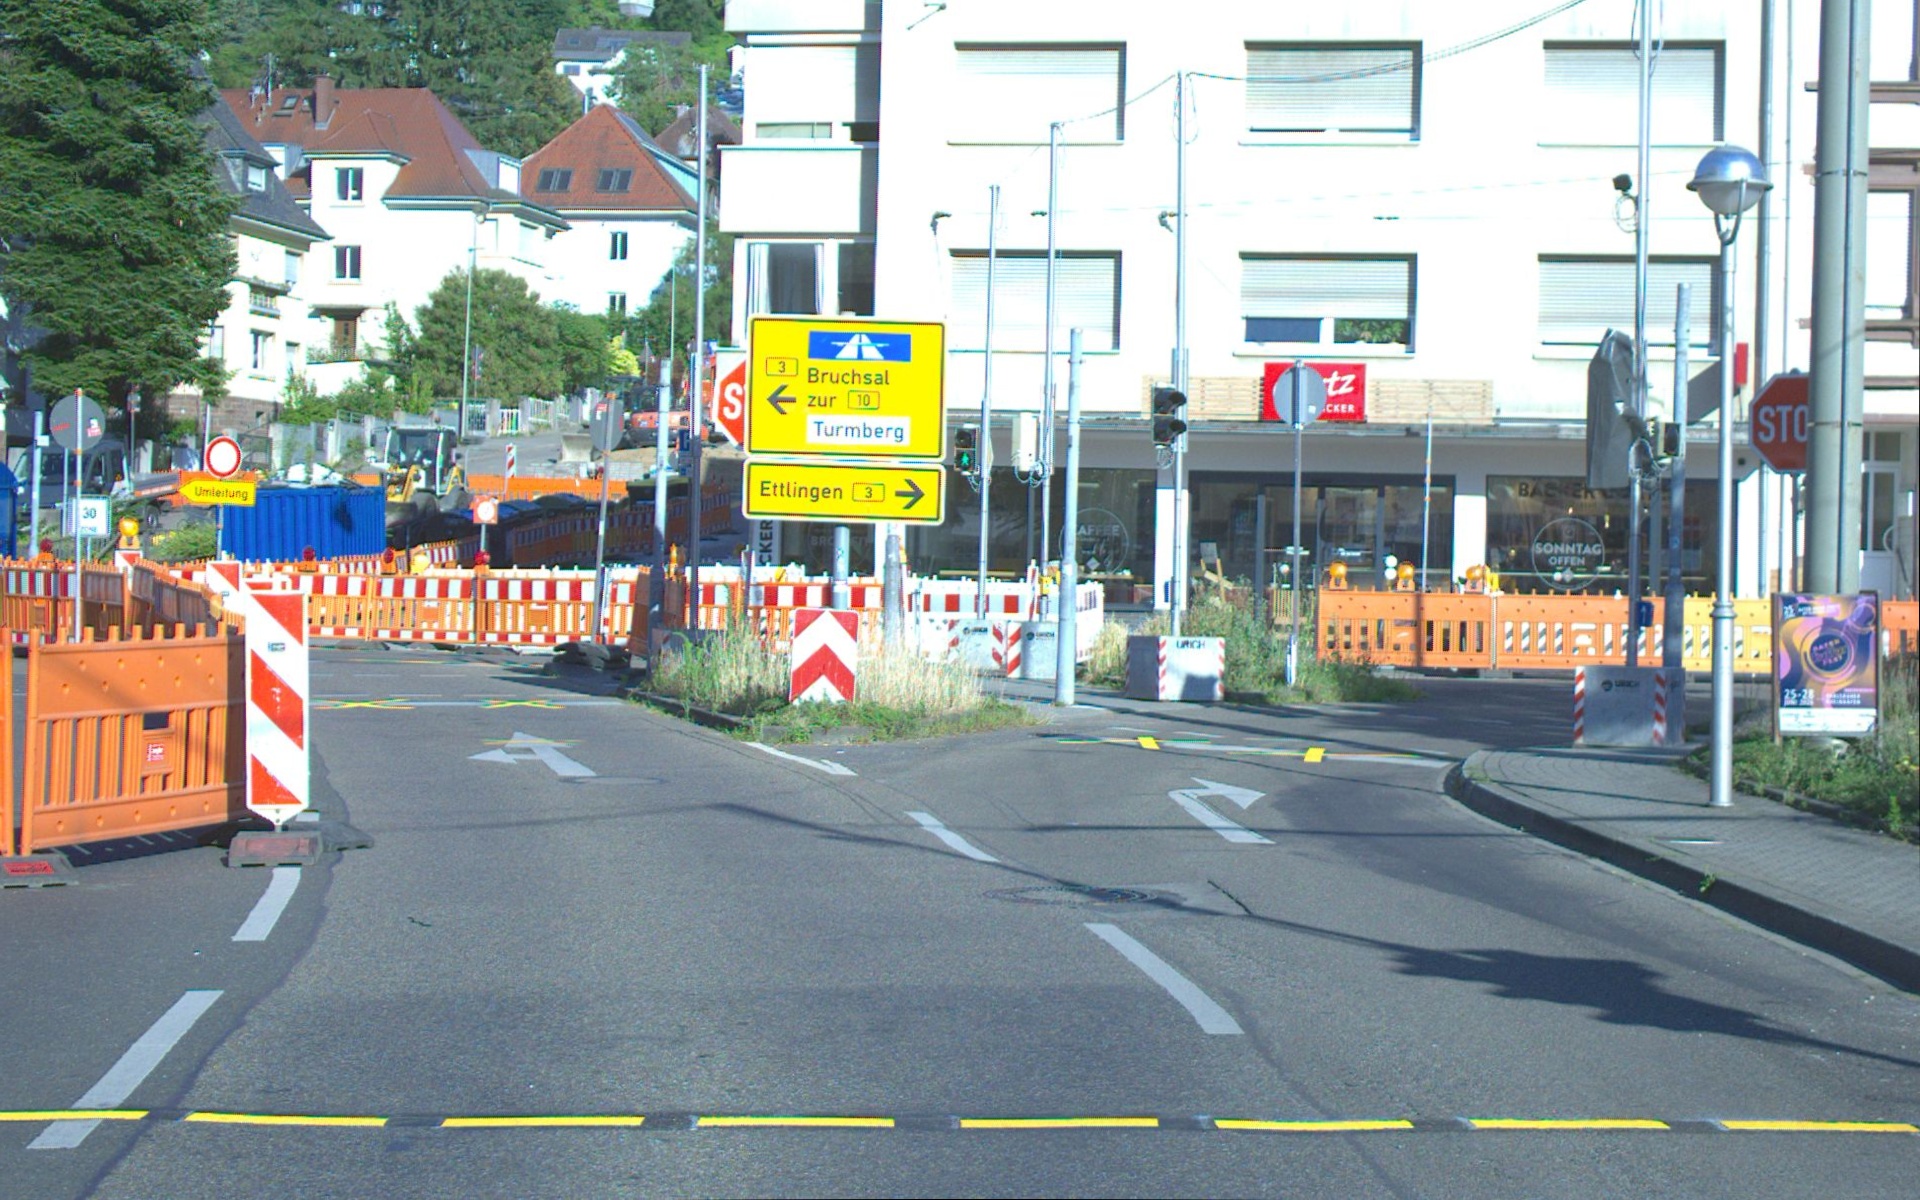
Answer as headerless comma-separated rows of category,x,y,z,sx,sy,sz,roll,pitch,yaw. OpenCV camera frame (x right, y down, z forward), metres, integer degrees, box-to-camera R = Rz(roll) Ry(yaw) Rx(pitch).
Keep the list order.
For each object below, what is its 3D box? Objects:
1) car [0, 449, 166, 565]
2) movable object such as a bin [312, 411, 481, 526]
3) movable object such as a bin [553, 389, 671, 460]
car,-18.031,-1.752,66.139,2.585,2.113,6.145,1,1,18
movable object such as a bin,-12.890,-2.986,78.944,1.950,2.486,4.547,1,1,18
movable object such as a bin,-11.591,-5.833,114.839,2.566,2.114,5.782,1,1,8
